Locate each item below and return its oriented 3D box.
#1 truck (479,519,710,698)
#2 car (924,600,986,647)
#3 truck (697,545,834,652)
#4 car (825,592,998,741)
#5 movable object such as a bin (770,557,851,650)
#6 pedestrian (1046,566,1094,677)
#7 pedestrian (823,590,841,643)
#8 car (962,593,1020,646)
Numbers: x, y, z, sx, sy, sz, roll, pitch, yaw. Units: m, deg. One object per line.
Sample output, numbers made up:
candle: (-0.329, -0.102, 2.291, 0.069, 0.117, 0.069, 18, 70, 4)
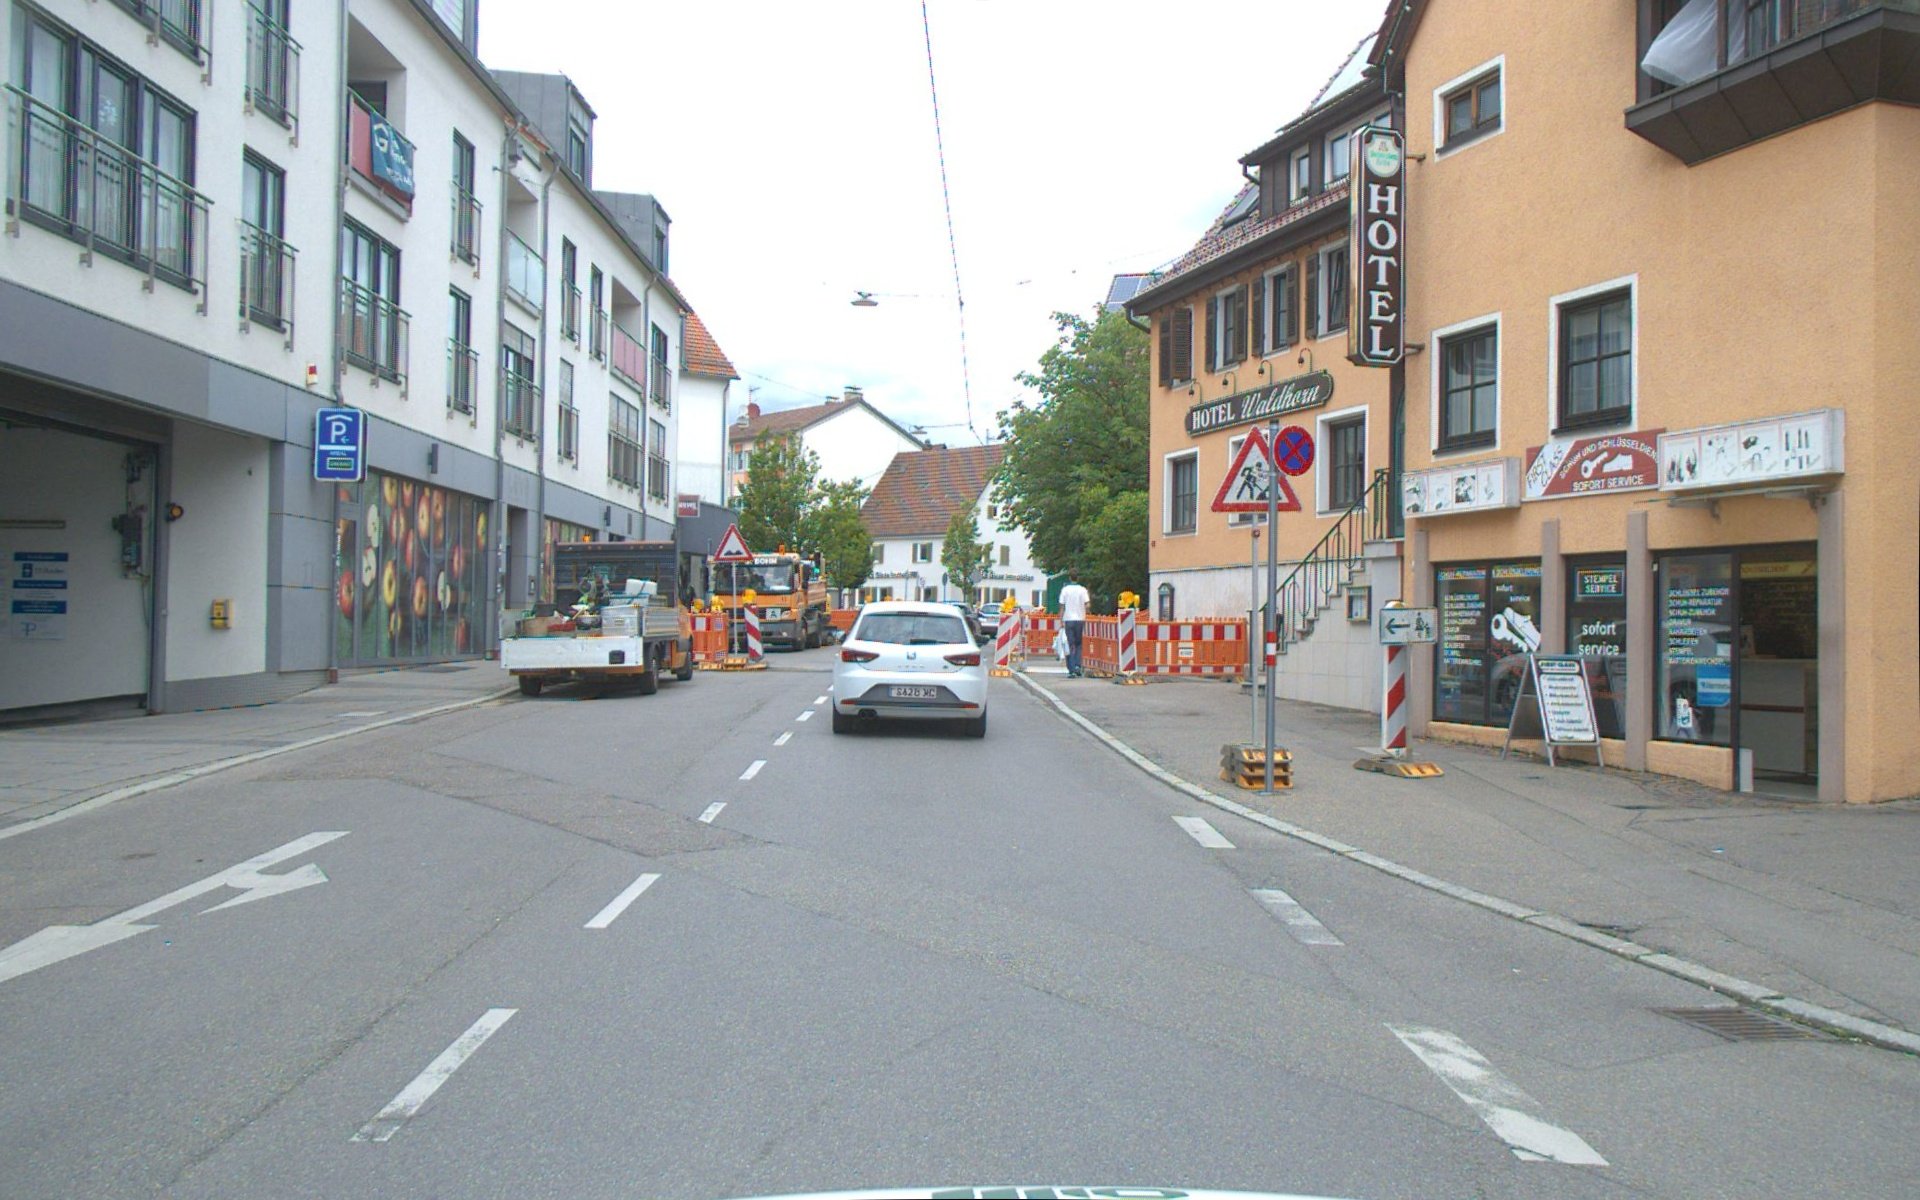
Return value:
truck: (-5.613, 0.097, 26.386, 2.364, 2.509, 6.306, 0, 0, -1)
car: (-0.126, 0.752, 54.962, 1.773, 1.506, 3.872, 0, 0, 4)
truck: (-5.298, -0.056, 46.238, 2.674, 2.772, 6.850, 0, 0, 3)
car: (-0.528, 0.692, 19.376, 1.775, 1.506, 3.870, 2, 0, -1)
movable object such as a bin: (-4.666, 0.152, 52.276, 1.800, 2.812, 4.507, 0, -1, 4)
pedestrian: (1.994, 0.384, 30.135, 0.782, 1.984, 0.836, 0, 0, -3)
pedestrian: (-4.308, 0.554, 55.756, 0.526, 1.774, 0.444, 0, -1, 6)
car: (1.263, 0.774, 66.253, 1.951, 2.049, 4.003, 0, -1, 6)
